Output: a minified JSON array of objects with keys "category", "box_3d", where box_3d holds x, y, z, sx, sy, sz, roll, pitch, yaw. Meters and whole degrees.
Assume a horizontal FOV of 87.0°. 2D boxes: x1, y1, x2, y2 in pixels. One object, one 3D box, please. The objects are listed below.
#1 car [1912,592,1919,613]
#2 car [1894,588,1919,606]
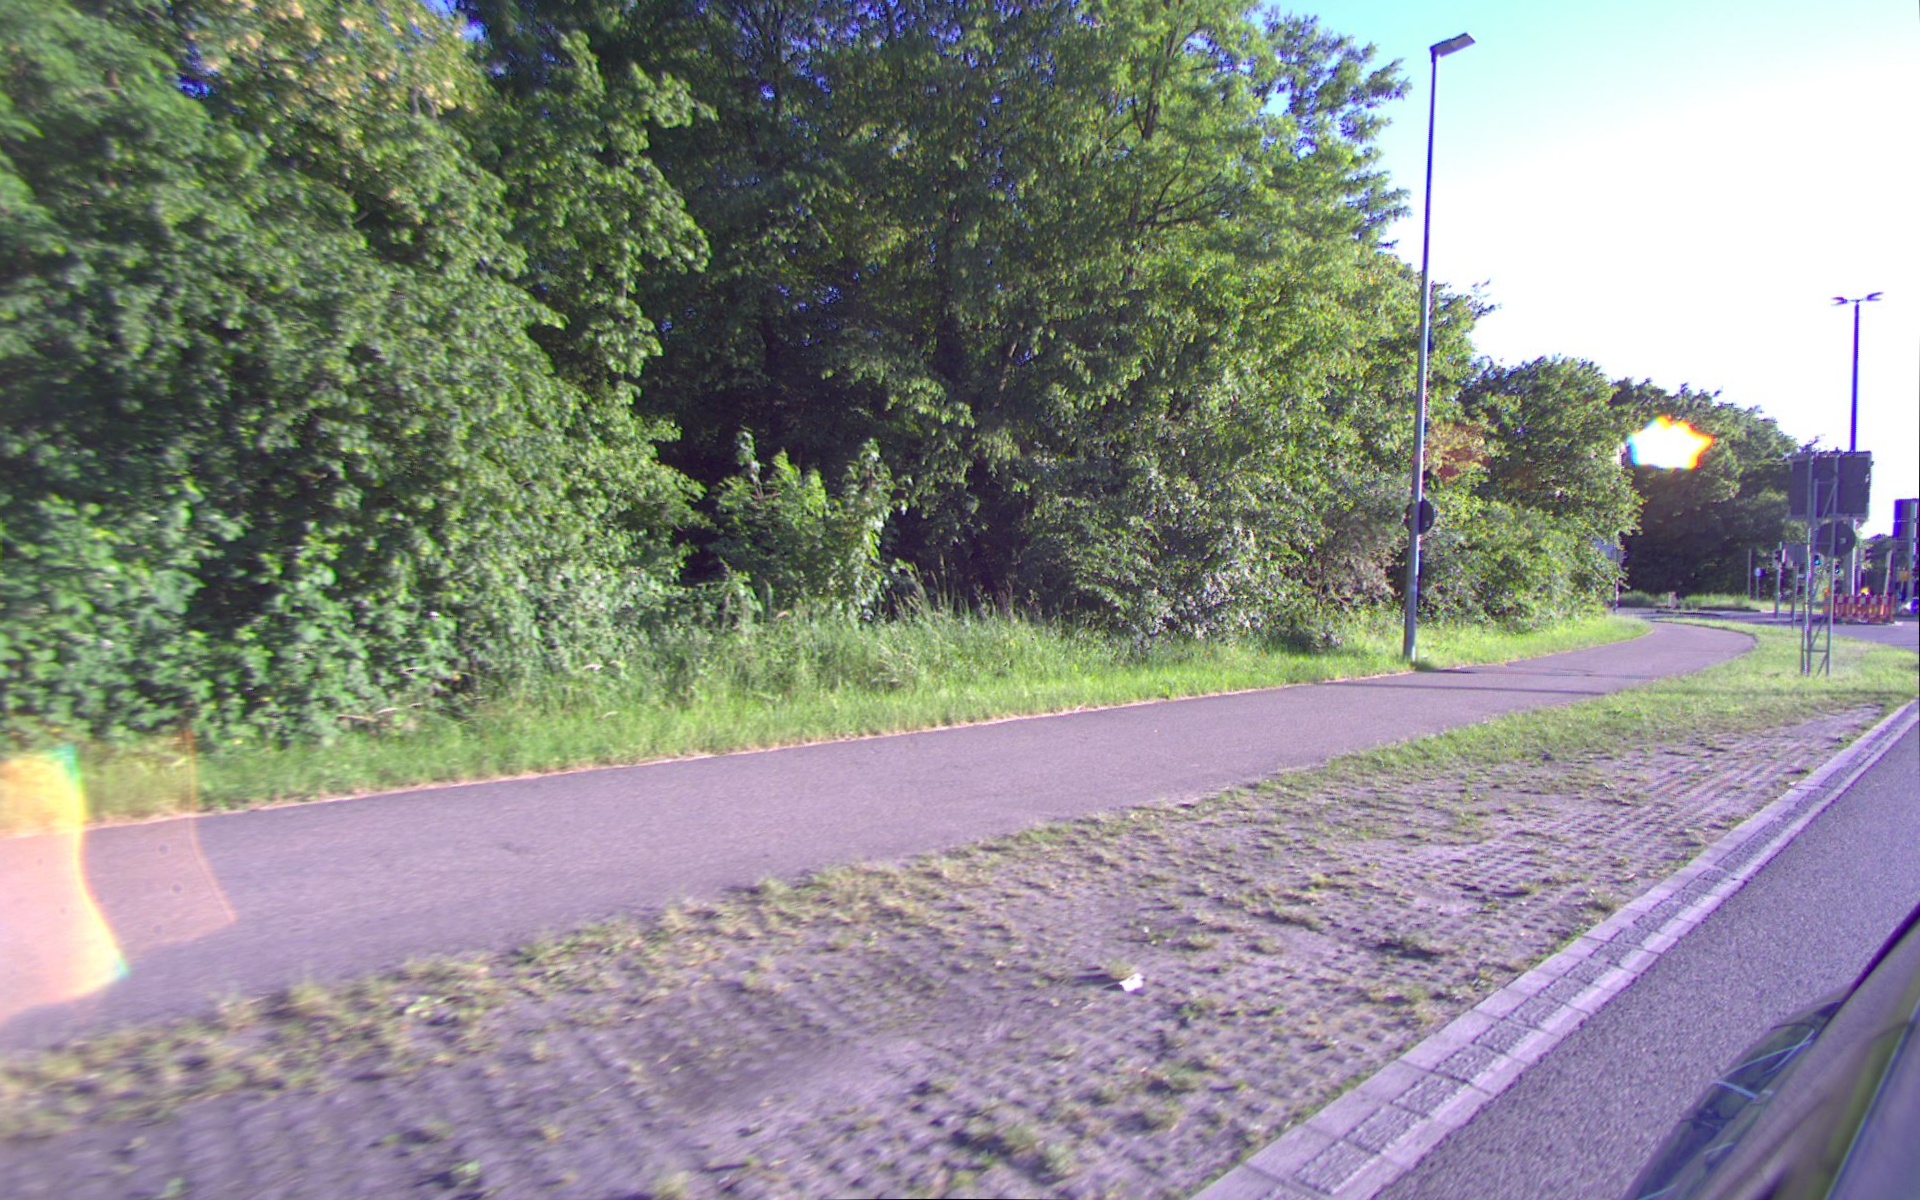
[{"category":"car","box_3d":[75.229,0.190,78.446,1.994,1.538,3.937,1,2,44]},{"category":"car","box_3d":[85.218,-0.300,90.765,1.994,1.538,3.937,1,2,44]}]
